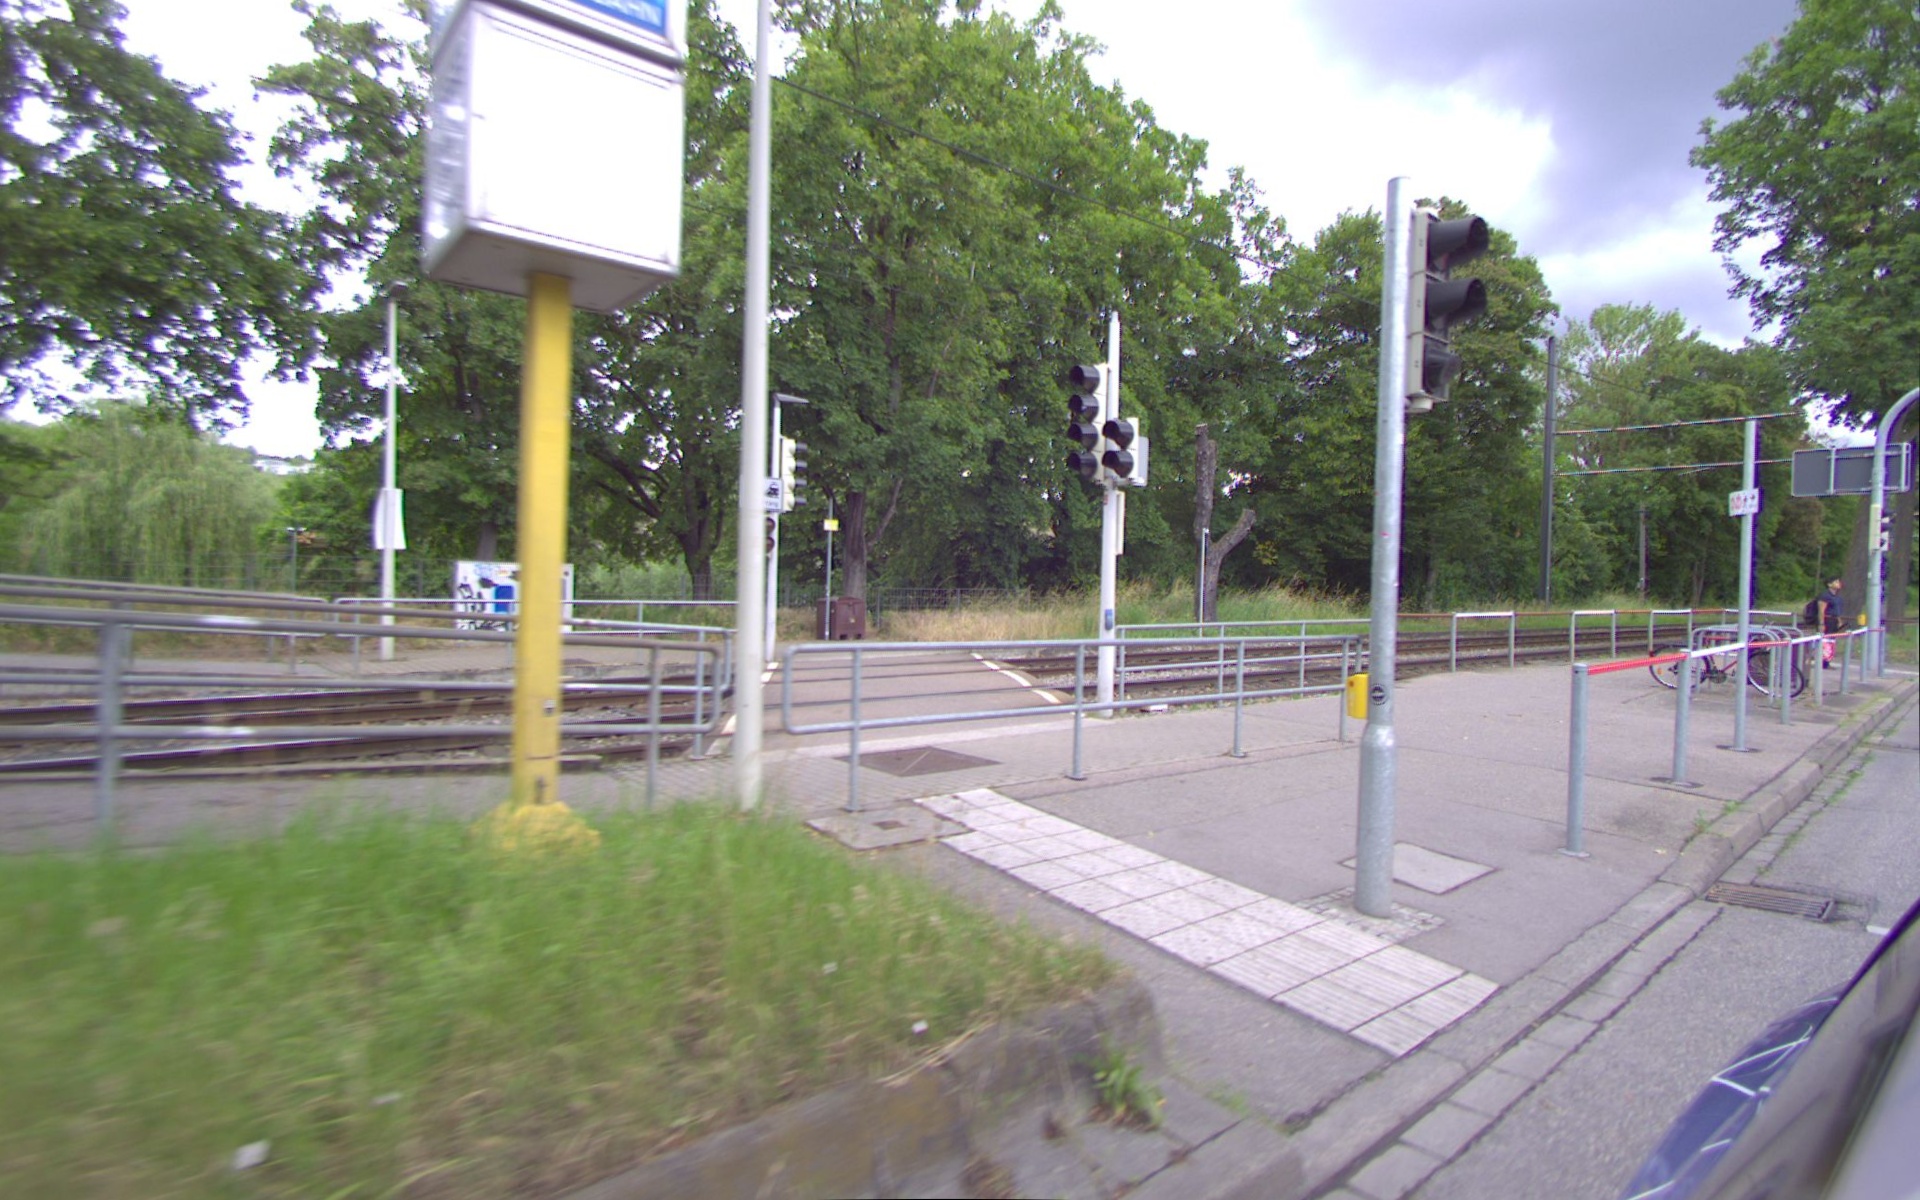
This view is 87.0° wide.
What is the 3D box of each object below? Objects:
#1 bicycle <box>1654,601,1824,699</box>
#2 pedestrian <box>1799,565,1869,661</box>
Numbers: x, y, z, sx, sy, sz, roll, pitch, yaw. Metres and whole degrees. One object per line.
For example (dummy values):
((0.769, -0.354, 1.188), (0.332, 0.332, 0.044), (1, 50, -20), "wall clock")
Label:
((10.404, 0.631, 13.564), (0.592, 1.103, 1.677), (0, 4, -43), "bicycle")
((16.714, 0.240, 19.359), (0.823, 1.758, 0.755), (0, 3, -35), "pedestrian")
